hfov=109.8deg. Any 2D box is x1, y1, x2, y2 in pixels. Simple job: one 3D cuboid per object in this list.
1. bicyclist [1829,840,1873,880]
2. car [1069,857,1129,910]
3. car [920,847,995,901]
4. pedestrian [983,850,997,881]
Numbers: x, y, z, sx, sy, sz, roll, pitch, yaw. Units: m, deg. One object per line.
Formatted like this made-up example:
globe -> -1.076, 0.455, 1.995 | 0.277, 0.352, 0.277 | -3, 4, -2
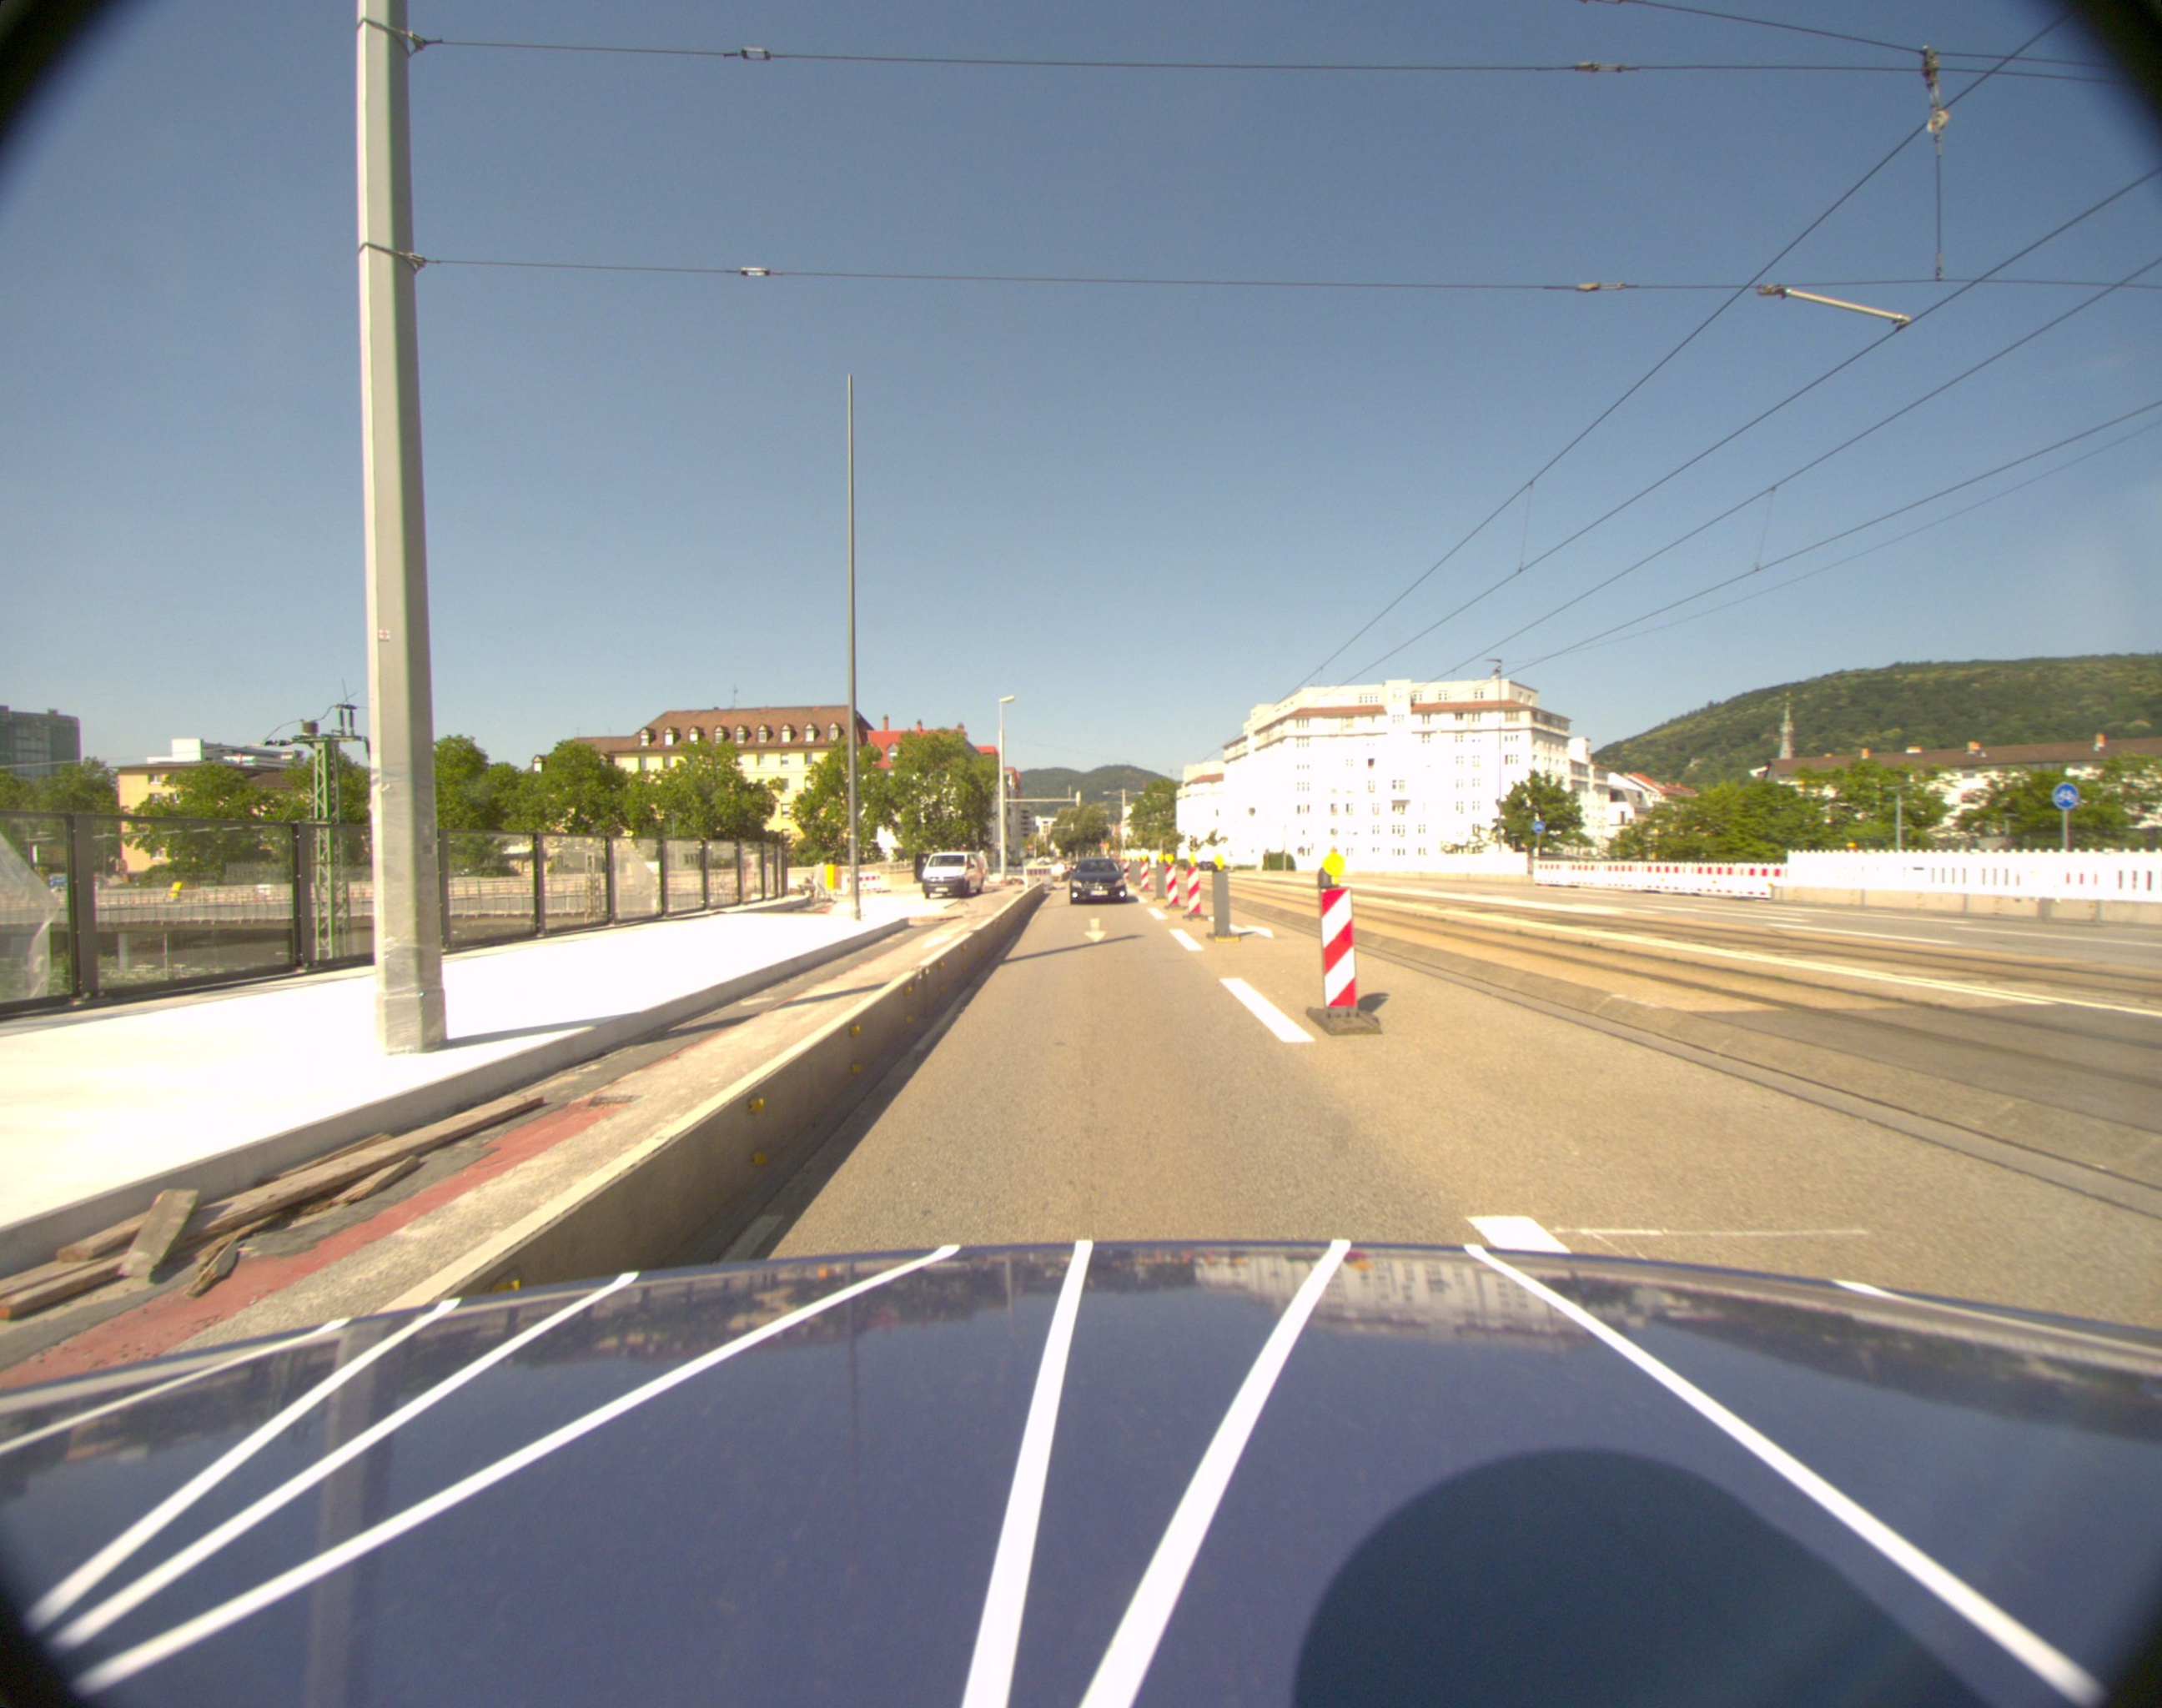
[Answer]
bicyclist -> 29.633, 0.229, 29.264 | 0.858, 1.510, 0.817 | -2, 1, 0
car -> 0.563, 0.859, 24.250 | 1.698, 1.388, 4.362 | -2, 1, 1
car -> -5.392, 0.775, 34.097 | 1.938, 2.078, 6.470 | -1, 1, 3
pedestrian -> -5.788, 0.717, 48.522 | 0.761, 1.973, 0.843 | 1, 1, 1
